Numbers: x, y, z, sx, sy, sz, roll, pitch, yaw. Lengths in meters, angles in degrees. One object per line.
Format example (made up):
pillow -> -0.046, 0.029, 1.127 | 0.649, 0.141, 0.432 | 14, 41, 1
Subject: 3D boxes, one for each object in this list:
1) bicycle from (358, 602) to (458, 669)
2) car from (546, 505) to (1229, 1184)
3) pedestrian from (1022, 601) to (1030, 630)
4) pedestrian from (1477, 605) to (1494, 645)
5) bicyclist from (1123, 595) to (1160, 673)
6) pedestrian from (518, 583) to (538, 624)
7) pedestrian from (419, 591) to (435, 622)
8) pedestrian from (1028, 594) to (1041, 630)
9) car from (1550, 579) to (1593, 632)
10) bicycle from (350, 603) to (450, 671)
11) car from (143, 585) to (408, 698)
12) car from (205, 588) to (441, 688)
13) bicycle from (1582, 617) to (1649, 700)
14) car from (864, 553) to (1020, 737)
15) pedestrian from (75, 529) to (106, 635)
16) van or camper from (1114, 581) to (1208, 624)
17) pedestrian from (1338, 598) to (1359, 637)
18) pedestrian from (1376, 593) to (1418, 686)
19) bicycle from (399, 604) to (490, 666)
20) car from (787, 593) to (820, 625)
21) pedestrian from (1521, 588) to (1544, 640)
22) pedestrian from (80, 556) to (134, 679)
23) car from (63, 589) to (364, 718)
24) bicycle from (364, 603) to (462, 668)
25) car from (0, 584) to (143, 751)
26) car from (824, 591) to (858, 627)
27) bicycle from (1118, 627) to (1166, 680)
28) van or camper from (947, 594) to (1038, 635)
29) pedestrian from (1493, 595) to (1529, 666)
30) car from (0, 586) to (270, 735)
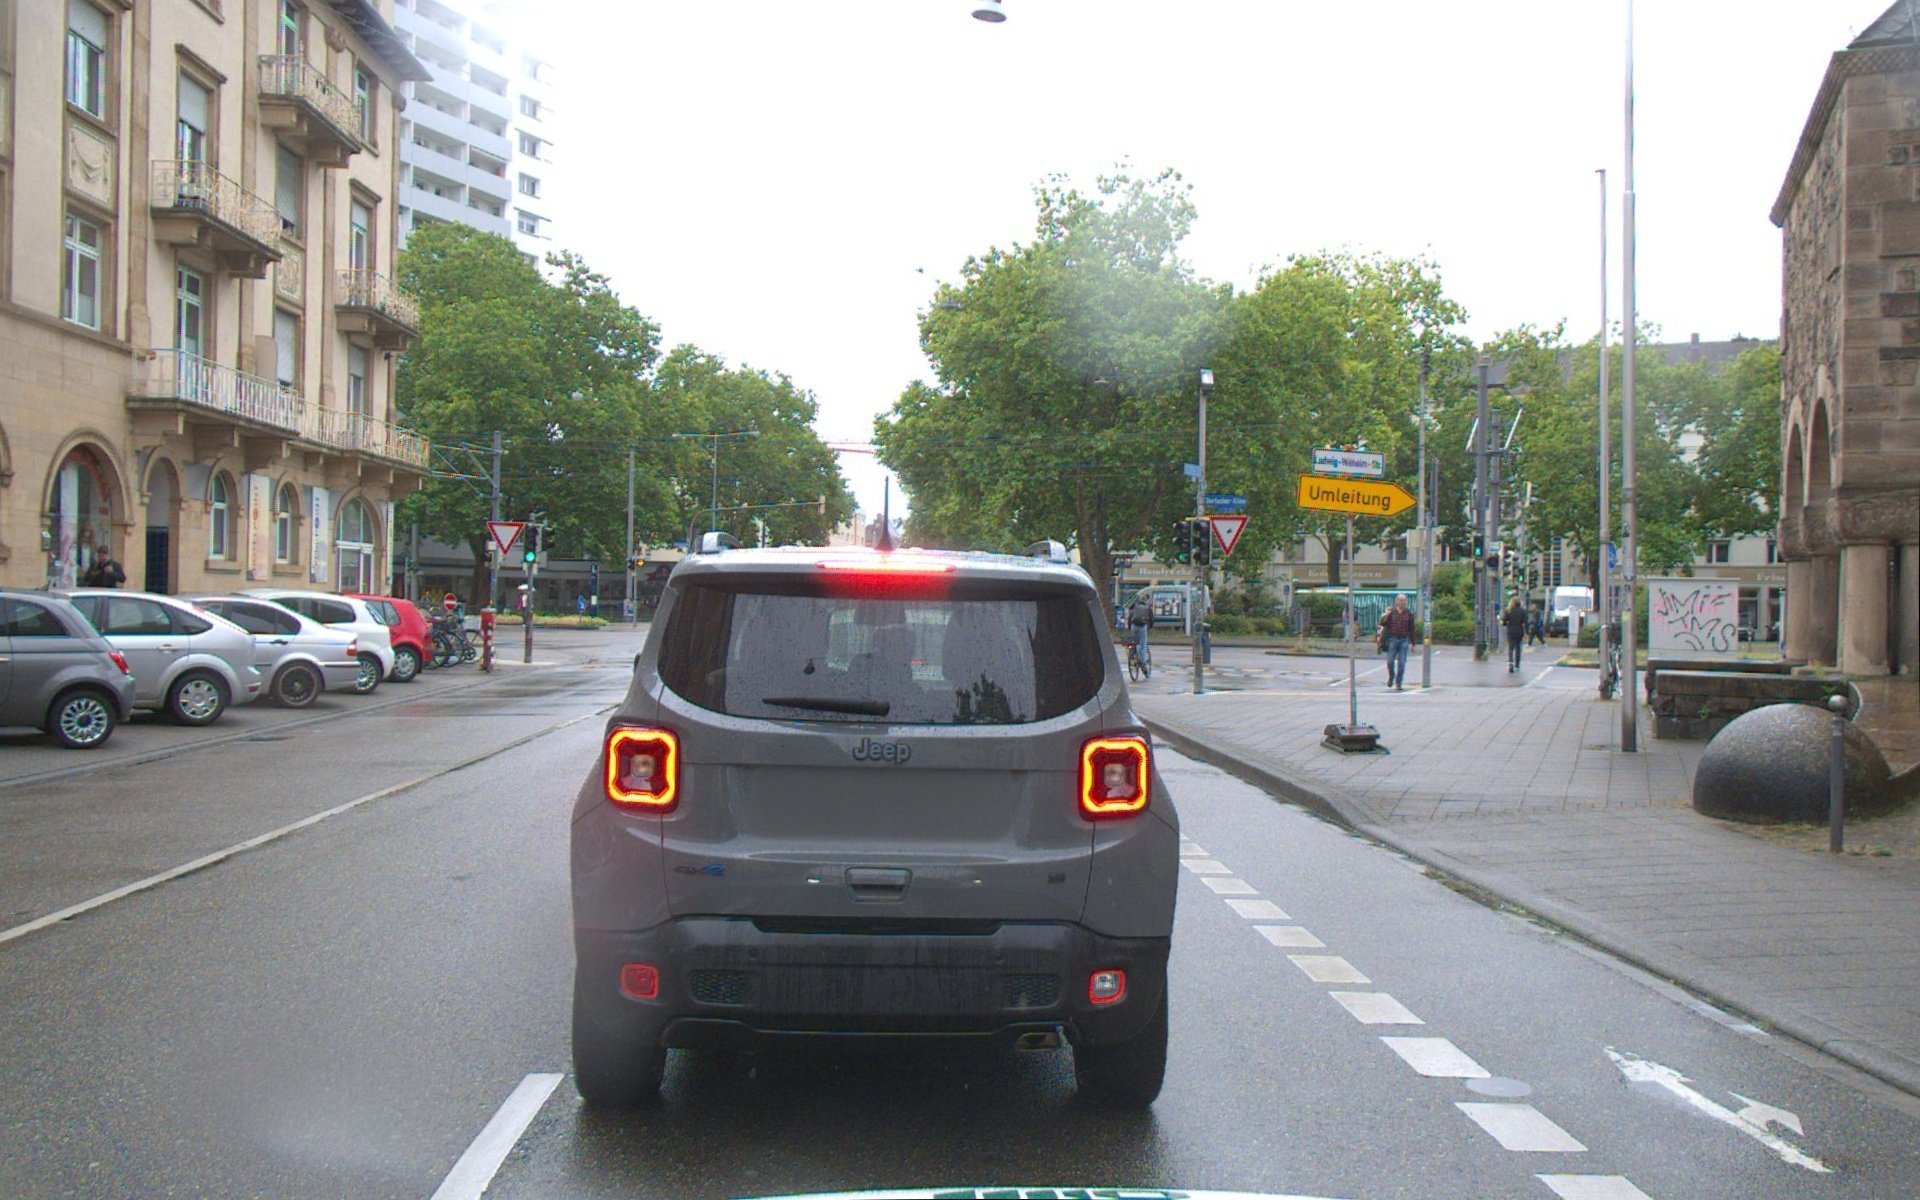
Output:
bicycle -> -10.780, 0.691, 32.343 | 1.774, 1.288, 0.498 | 0, 0, -3
car -> -0.242, 0.613, 6.156 | 1.739, 1.716, 3.846 | 0, 0, -2
pedestrian -> 4.049, 0.933, 100.791 | 0.448, 1.733, 0.424 | 1, 0, -1
pedestrian -> 21.316, 1.005, 67.107 | 0.600, 1.631, 0.494 | 0, 0, 23
bicyclist -> 3.871, 0.708, 35.228 | 0.672, 1.646, 0.884 | 0, 0, 14
pedestrian -> -19.229, 0.156, 73.683 | 0.605, 1.858, 0.695 | 0, 0, 12
pedestrian -> -26.739, 0.319, 82.948 | 0.433, 1.556, 0.642 | 0, 0, 27
pedestrian -> 4.179, 0.666, 92.654 | 0.637, 2.049, 0.483 | 1, 0, 11
car -> 31.214, 0.286, 84.341 | 1.868, 2.600, 4.786 | 0, 0, 22
bicycle -> -10.752, 0.700, 31.797 | 1.728, 1.288, 0.522 | 0, 0, -3
car -> -10.355, 0.594, 25.104 | 3.372, 1.585, 1.681 | 1, 0, -41
car -> -10.742, 0.614, 27.965 | 3.372, 1.585, 1.681 | 1, 0, -41
bicycle -> 9.856, 0.855, 24.924 | 0.322, 1.174, 2.076 | 0, 0, 4
car -> -0.245, 0.500, 20.541 | 1.734, 2.049, 3.999 | 1, 0, -1
pedestrian -> -15.384, -0.314, 29.266 | 0.359, 1.854, 0.347 | 0, -1, -4
van or camper -> 11.516, 0.142, 94.971 | 5.149, 2.356, 2.090 | 1, 0, 3
pedestrian -> 16.122, 0.726, 68.678 | 0.660, 1.581, 0.761 | 0, -2, 27
pedestrian -> 8.586, 0.760, 32.543 | 0.769, 1.790, 0.946 | 0, 0, 14
bicycle -> -10.873, 0.727, 34.932 | 1.728, 1.288, 0.608 | 0, 0, -3
car -> -8.695, 0.500, 91.924 | 1.779, 1.700, 3.916 | 1, 0, -5
pedestrian -> 22.787, 0.542, 65.854 | 0.789, 2.049, 0.589 | 0, 0, 26
pedestrian -> -14.371, 0.289, 27.886 | 0.556, 2.049, 0.654 | 1, 0, -1
car -> -10.002, 0.671, 22.252 | 3.372, 1.585, 1.681 | 1, 0, -41
bicycle -> -10.920, 0.698, 33.024 | 1.774, 1.288, 0.498 | 0, 0, -3
car -> -9.962, 0.634, 16.041 | 3.372, 1.585, 1.629 | 1, 0, -41
car -> -6.077, 0.457, 84.168 | 1.688, 1.769, 3.726 | 1, 0, -5
bicycle -> 3.900, 1.115, 35.354 | 0.677, 1.039, 2.660 | 0, 0, 14
van or camper -> 2.437, 1.066, 124.783 | 6.395, 2.963, 2.493 | 0, 0, 24
pedestrian -> 13.228, 0.719, 39.705 | 0.767, 1.674, 0.655 | 0, 0, 23
car -> -9.957, 0.650, 19.069 | 3.372, 1.585, 1.681 | 1, 0, -41
